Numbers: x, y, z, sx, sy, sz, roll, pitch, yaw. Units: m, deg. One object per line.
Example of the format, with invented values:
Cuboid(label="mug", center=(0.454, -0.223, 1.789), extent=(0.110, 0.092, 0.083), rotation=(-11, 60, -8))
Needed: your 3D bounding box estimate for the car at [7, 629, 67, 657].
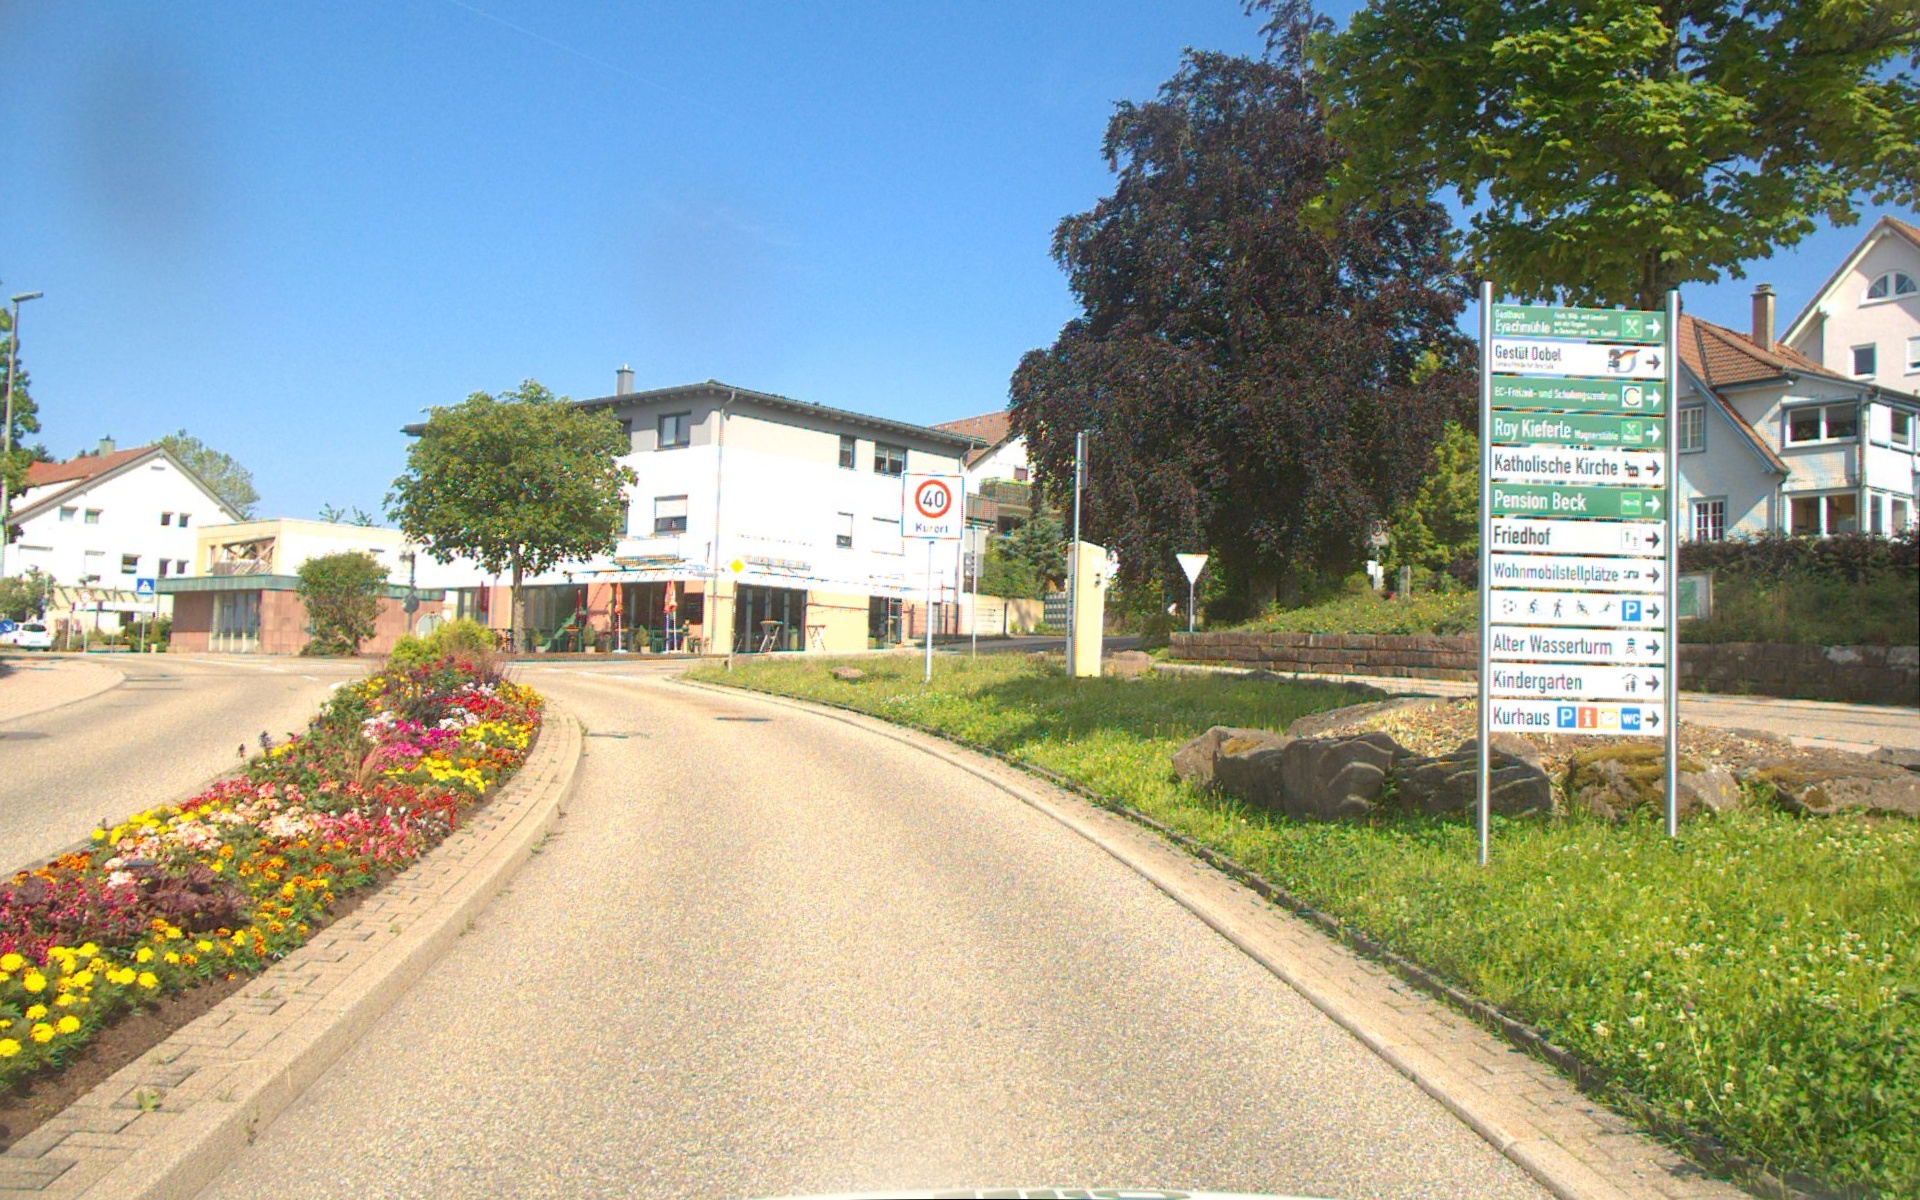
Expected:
Cuboid(label="car", center=(-47.888, 2.220, 85.772), extent=(3.571, 1.448, 1.754), rotation=(-1, -2, 44))
